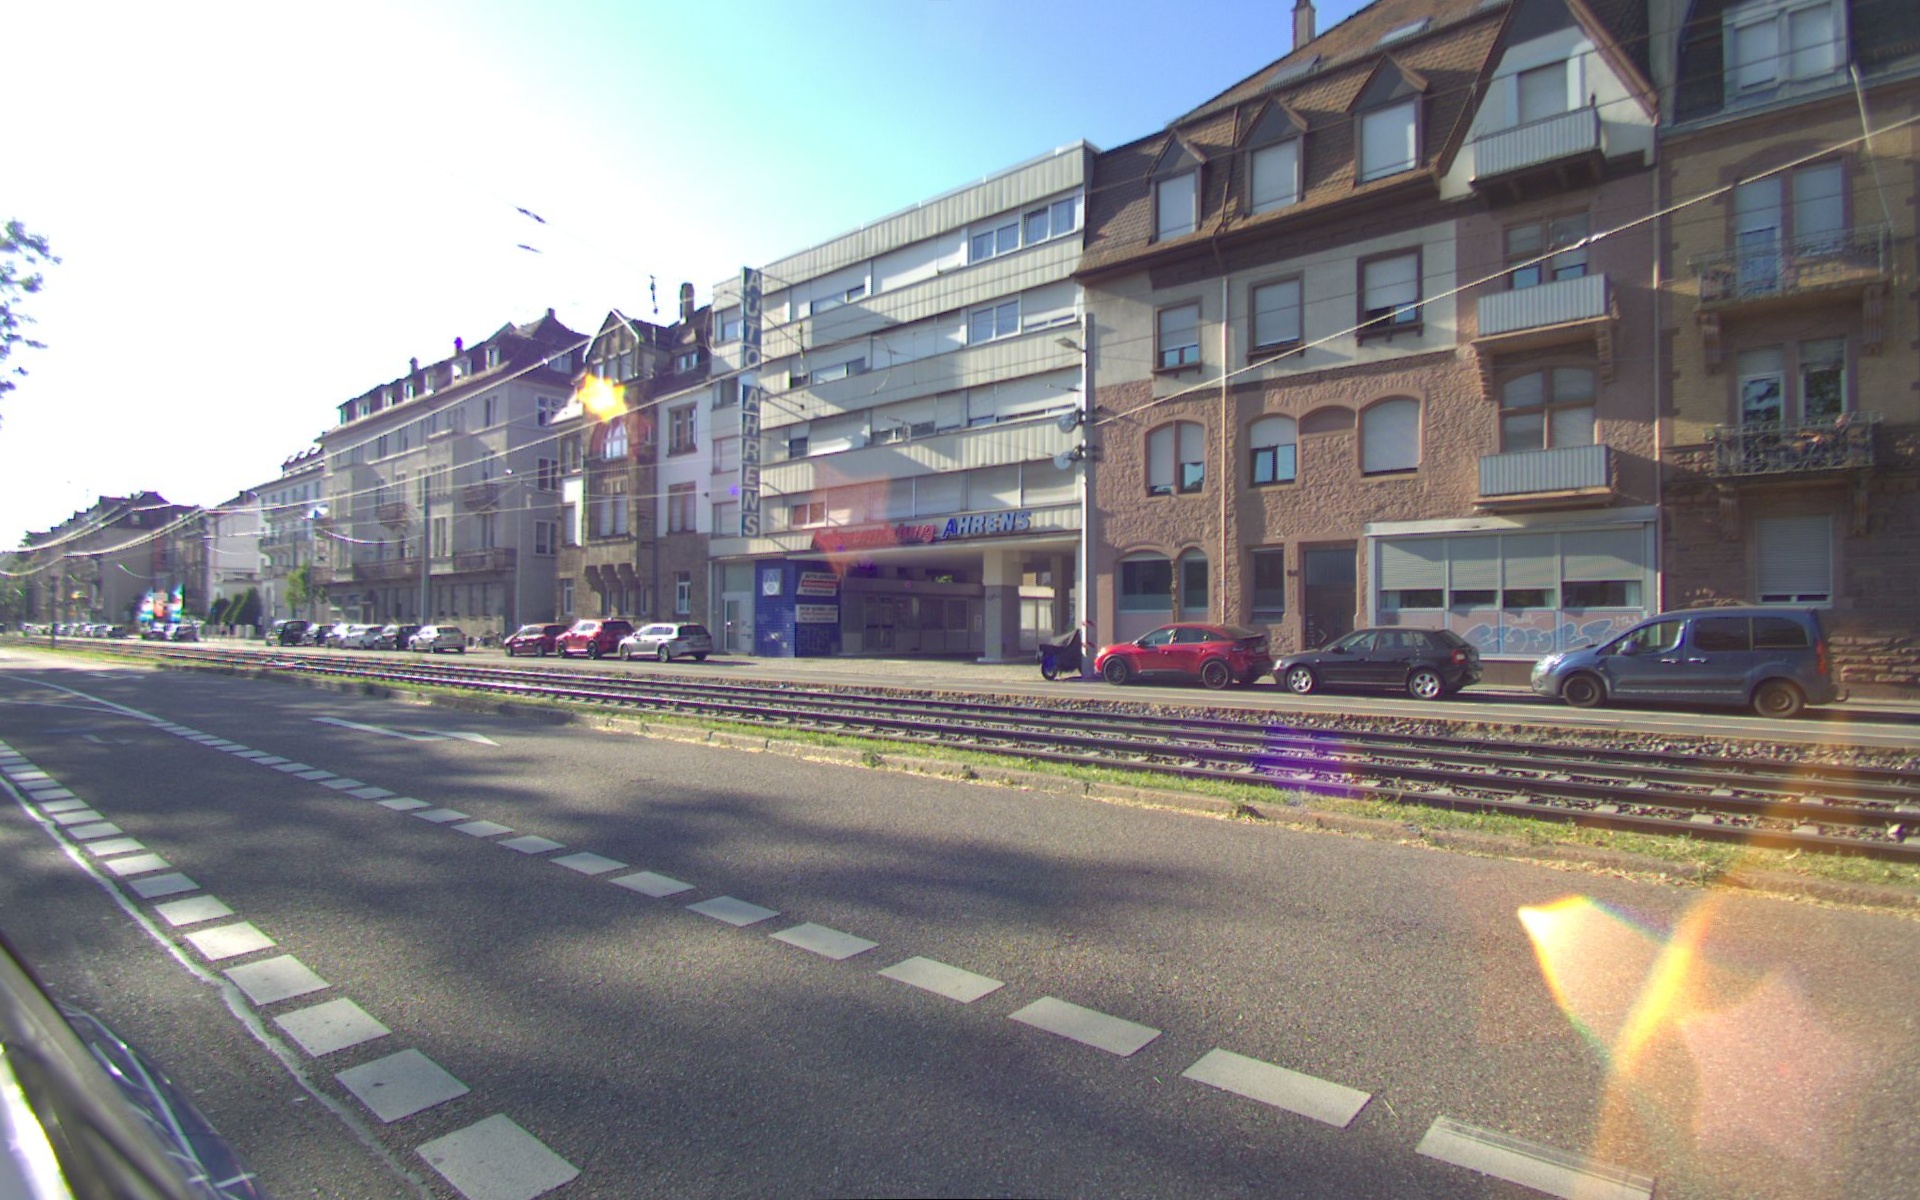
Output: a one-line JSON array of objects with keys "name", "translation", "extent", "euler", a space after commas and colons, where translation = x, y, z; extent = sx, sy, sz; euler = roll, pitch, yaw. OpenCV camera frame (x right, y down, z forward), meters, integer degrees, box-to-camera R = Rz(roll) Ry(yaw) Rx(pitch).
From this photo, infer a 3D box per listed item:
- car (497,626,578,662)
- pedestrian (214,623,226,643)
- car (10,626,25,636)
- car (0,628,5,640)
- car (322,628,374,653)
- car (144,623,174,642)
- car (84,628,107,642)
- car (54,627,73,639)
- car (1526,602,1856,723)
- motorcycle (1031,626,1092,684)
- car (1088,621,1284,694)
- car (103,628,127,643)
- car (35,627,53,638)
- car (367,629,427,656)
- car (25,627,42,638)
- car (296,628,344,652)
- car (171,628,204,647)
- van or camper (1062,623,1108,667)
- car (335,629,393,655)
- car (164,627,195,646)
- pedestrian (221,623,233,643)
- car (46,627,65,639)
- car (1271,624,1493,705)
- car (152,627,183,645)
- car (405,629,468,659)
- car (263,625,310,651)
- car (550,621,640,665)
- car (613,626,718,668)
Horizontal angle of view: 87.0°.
[{"name": "car", "translation": [-19.443, 2.011, 46.532], "extent": [3.722, 1.507, 1.736], "euler": [-2, -1, 36]}, {"name": "pedestrian", "translation": [-67.438, 3.010, 92.194], "extent": [0.677, 1.803, 0.716], "euler": [-2, -3, 41]}, {"name": "car", "translation": [-160.666, 5.317, 172.505], "extent": [3.449, 1.602, 1.603], "euler": [-1, -1, 41]}, {"name": "car", "translation": [-146.515, 5.143, 153.663], "extent": [3.999, 1.697, 1.798], "euler": [-2, -3, 42]}, {"name": "car", "translation": [-38.792, 2.576, 64.157], "extent": [3.822, 1.490, 1.778], "euler": [-2, -1, 42]}, {"name": "car", "translation": [-78.990, 3.235, 99.776], "extent": [3.879, 1.800, 1.705], "euler": [-1, -1, 41]}, {"name": "car", "translation": [-101.601, 4.091, 118.903], "extent": [3.449, 1.602, 1.603], "euler": [-1, -1, 41]}, {"name": "car", "translation": [-123.485, 4.578, 139.377], "extent": [3.449, 1.602, 1.603], "euler": [-1, -1, 41]}, {"name": "car", "translation": [12.577, 0.996, 17.610], "extent": [4.418, 1.772, 1.865], "euler": [-2, 1, 44]}, {"name": "motorcycle", "translation": [2.721, 1.447, 26.919], "extent": [0.628, 1.433, 1.836], "euler": [-3, -1, 41]}, {"name": "car", "translation": [5.365, 1.327, 24.317], "extent": [4.208, 1.510, 1.837], "euler": [-2, 1, 41]}, {"name": "car", "translation": [-94.451, 3.920, 113.092], "extent": [3.449, 1.602, 1.603], "euler": [-1, -1, 41]}, {"name": "car", "translation": [-133.311, 4.741, 147.263], "extent": [3.449, 1.602, 1.603], "euler": [-1, -1, 41]}, {"name": "car", "translation": [-32.226, 2.402, 57.915], "extent": [3.819, 1.441, 1.779], "euler": [-2, -1, 40]}, {"name": "car", "translation": [-141.174, 4.914, 154.157], "extent": [3.449, 1.602, 1.603], "euler": [-1, -1, 41]}, {"name": "car", "translation": [-43.130, 2.682, 68.188], "extent": [3.822, 1.490, 1.778], "euler": [-2, -1, 42]}, {"name": "car", "translation": [-67.627, 3.274, 88.602], "extent": [3.407, 1.644, 1.655], "euler": [-2, -1, 42]}, {"name": "van or camper", "translation": [3.967, 1.429, 32.143], "extent": [0.803, 1.368, 1.409], "euler": [-2, -3, 41]}, {"name": "car", "translation": [-35.564, 2.472, 60.392], "extent": [3.531, 1.457, 1.624], "euler": [-1, -1, 34]}, {"name": "car", "translation": [-71.336, 3.324, 92.496], "extent": [3.387, 1.583, 1.662], "euler": [-1, -1, 41]}, {"name": "pedestrian", "translation": [-67.158, 3.034, 92.664], "extent": [0.677, 1.803, 0.716], "euler": [-2, -3, 41]}, {"name": "car", "translation": [-127.405, 4.626, 142.561], "extent": [3.449, 1.602, 1.603], "euler": [-1, -1, 41]}, {"name": "car", "translation": [8.702, 1.275, 21.031], "extent": [3.925, 1.448, 1.678], "euler": [-2, 1, 41]}, {"name": "car", "translation": [-74.948, 3.395, 95.698], "extent": [3.387, 1.583, 1.662], "euler": [-1, -1, 41]}, {"name": "car", "translation": [-28.148, 2.326, 54.399], "extent": [3.822, 1.490, 1.778], "euler": [-2, -1, 42]}, {"name": "car", "translation": [-47.568, 2.688, 71.445], "extent": [3.914, 1.750, 1.851], "euler": [-2, -1, 42]}, {"name": "car", "translation": [-15.558, 1.800, 43.040], "extent": [4.262, 1.700, 1.836], "euler": [-2, -1, 42]}, {"name": "car", "translation": [-11.522, 1.795, 39.522], "extent": [4.379, 1.510, 1.837], "euler": [-2, -1, 41]}]
